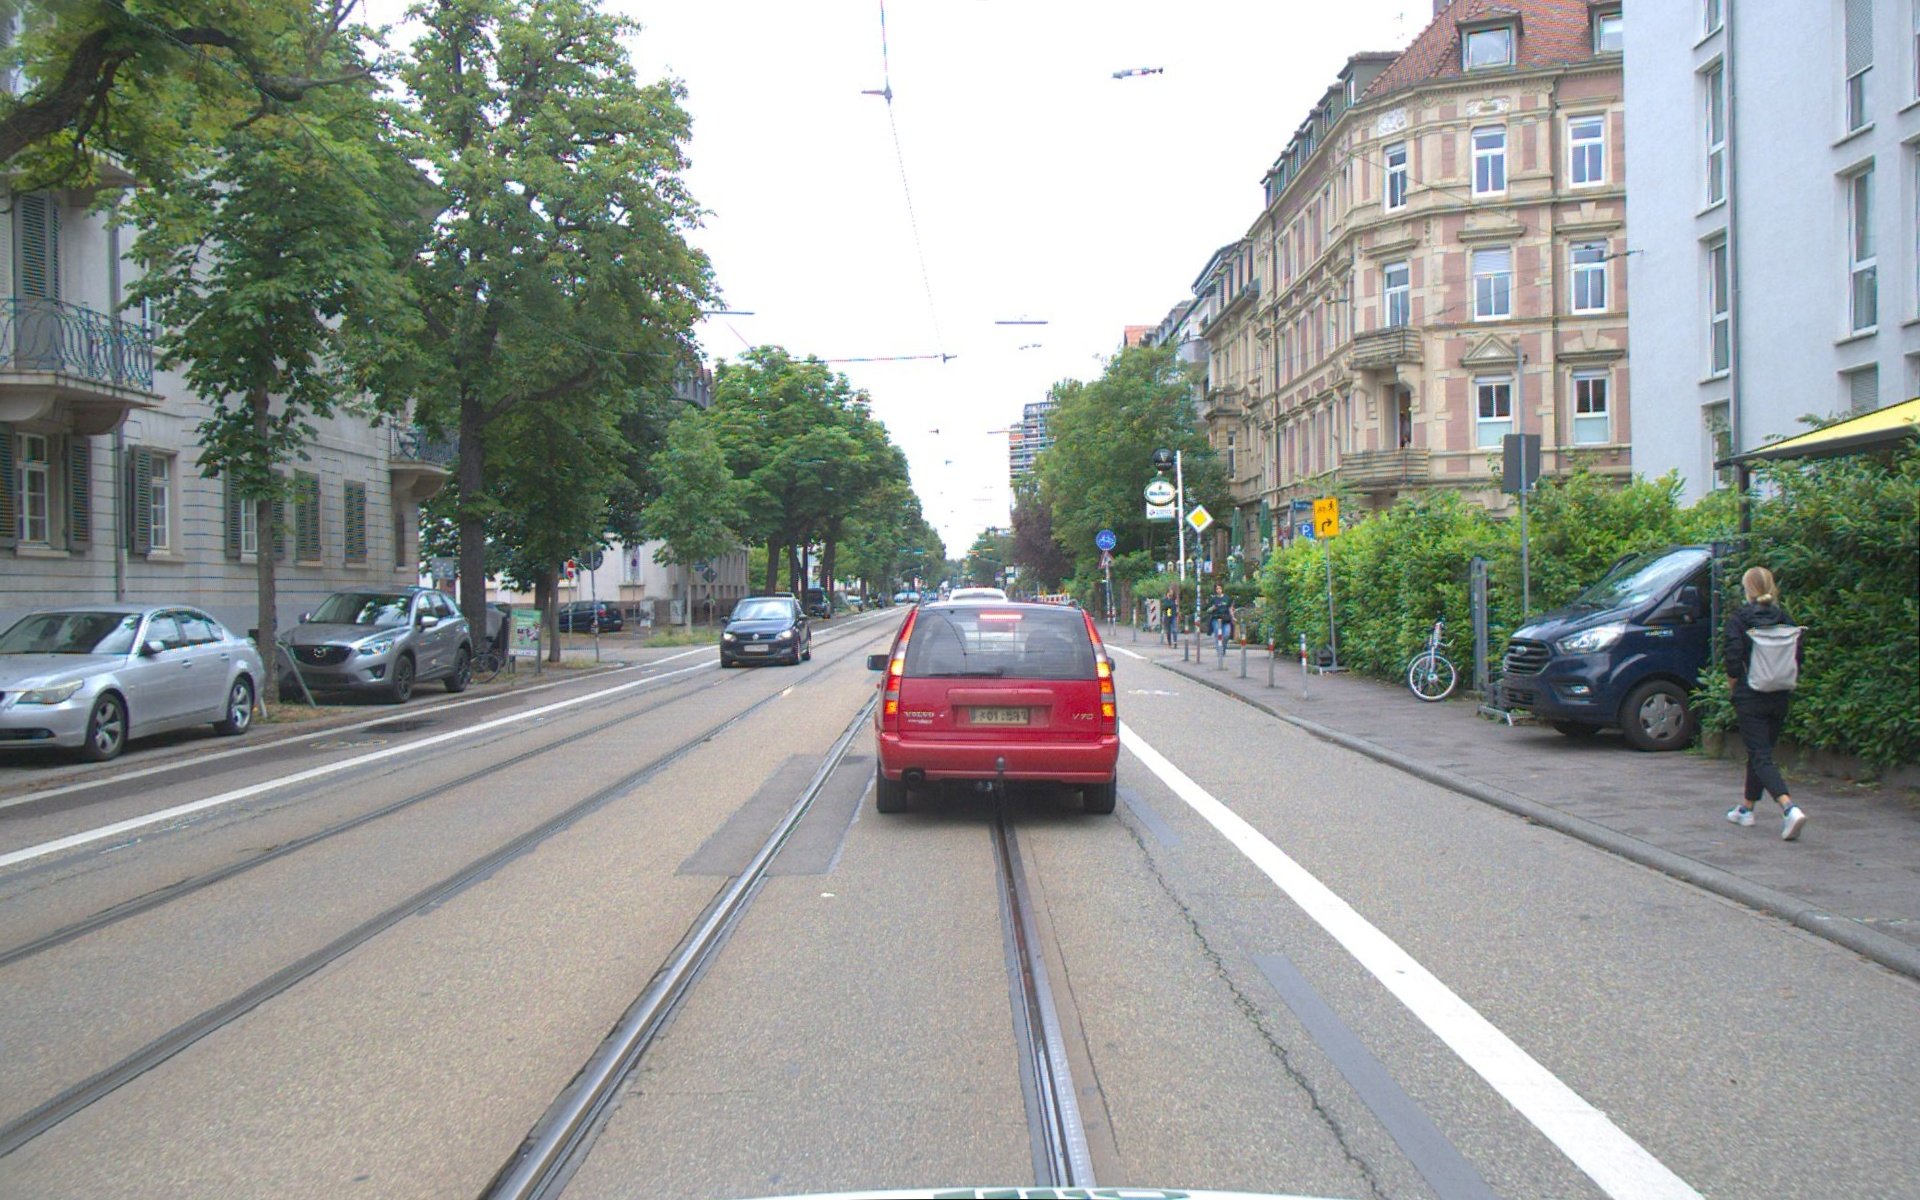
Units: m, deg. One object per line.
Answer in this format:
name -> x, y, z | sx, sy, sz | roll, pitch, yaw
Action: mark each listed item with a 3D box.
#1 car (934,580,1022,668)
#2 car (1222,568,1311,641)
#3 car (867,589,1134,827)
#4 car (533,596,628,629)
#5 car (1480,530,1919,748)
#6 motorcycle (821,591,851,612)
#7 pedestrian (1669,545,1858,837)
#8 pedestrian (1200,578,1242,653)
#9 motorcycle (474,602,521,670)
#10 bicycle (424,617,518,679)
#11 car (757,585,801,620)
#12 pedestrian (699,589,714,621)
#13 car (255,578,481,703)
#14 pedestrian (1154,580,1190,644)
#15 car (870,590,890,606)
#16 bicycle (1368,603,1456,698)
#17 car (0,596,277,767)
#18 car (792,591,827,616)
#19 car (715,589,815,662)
car -> 0.410, 0.453, 33.723 | 1.683, 1.653, 3.942 | -1, 0, 2
car -> 8.571, 0.095, 45.937 | 2.008, 1.910, 5.033 | -1, 0, 15
car -> 0.328, 0.654, 12.113 | 1.654, 1.466, 3.744 | 0, 0, 2
car -> -16.421, 0.526, 71.606 | 3.673, 1.330, 1.741 | -1, 0, 23
car -> 7.432, 0.337, 15.993 | 4.192, 1.840, 1.824 | -2, 0, 1
motorcycle -> -9.349, 0.096, 124.526 | 2.226, 1.538, 0.923 | -1, -2, 35
pedestrian -> 5.004, 0.540, 10.358 | 0.611, 1.700, 0.959 | -4, 0, -1
pedestrian -> 6.031, 0.357, 38.193 | 0.777, 1.664, 0.836 | -2, 0, 0
motorcycle -> -9.180, 0.690, 32.885 | 0.529, 1.279, 2.139 | -1, 0, -6
bicycle -> -8.736, 0.851, 29.582 | 1.347, 1.022, 0.930 | 2, 0, 4
car -> -9.167, 0.109, 83.935 | 1.858, 1.684, 4.224 | -1, 0, -1
pedestrian -> -12.235, 0.235, 79.776 | 0.553, 1.493, 0.723 | -1, 0, 0
car -> -8.846, 0.544, 25.138 | 1.800, 1.690, 4.294 | 1, 0, 1
pedestrian -> 5.694, 0.307, 44.449 | 0.854, 1.684, 0.909 | -1, 0, 12
car -> -8.184, -0.163, 169.618 | 1.813, 1.590, 3.942 | -1, 0, 0
bicycle -> 6.048, 0.654, 22.227 | 0.620, 1.147, 1.812 | -3, 1, -1
car -> -8.864, 0.724, 17.060 | 1.775, 1.491, 4.613 | 0, 0, -1
car -> -9.332, 0.209, 102.586 | 1.740, 1.537, 4.238 | 0, 0, 1
car -> -4.123, 0.503, 35.435 | 1.693, 1.433, 3.655 | -1, 0, 0
